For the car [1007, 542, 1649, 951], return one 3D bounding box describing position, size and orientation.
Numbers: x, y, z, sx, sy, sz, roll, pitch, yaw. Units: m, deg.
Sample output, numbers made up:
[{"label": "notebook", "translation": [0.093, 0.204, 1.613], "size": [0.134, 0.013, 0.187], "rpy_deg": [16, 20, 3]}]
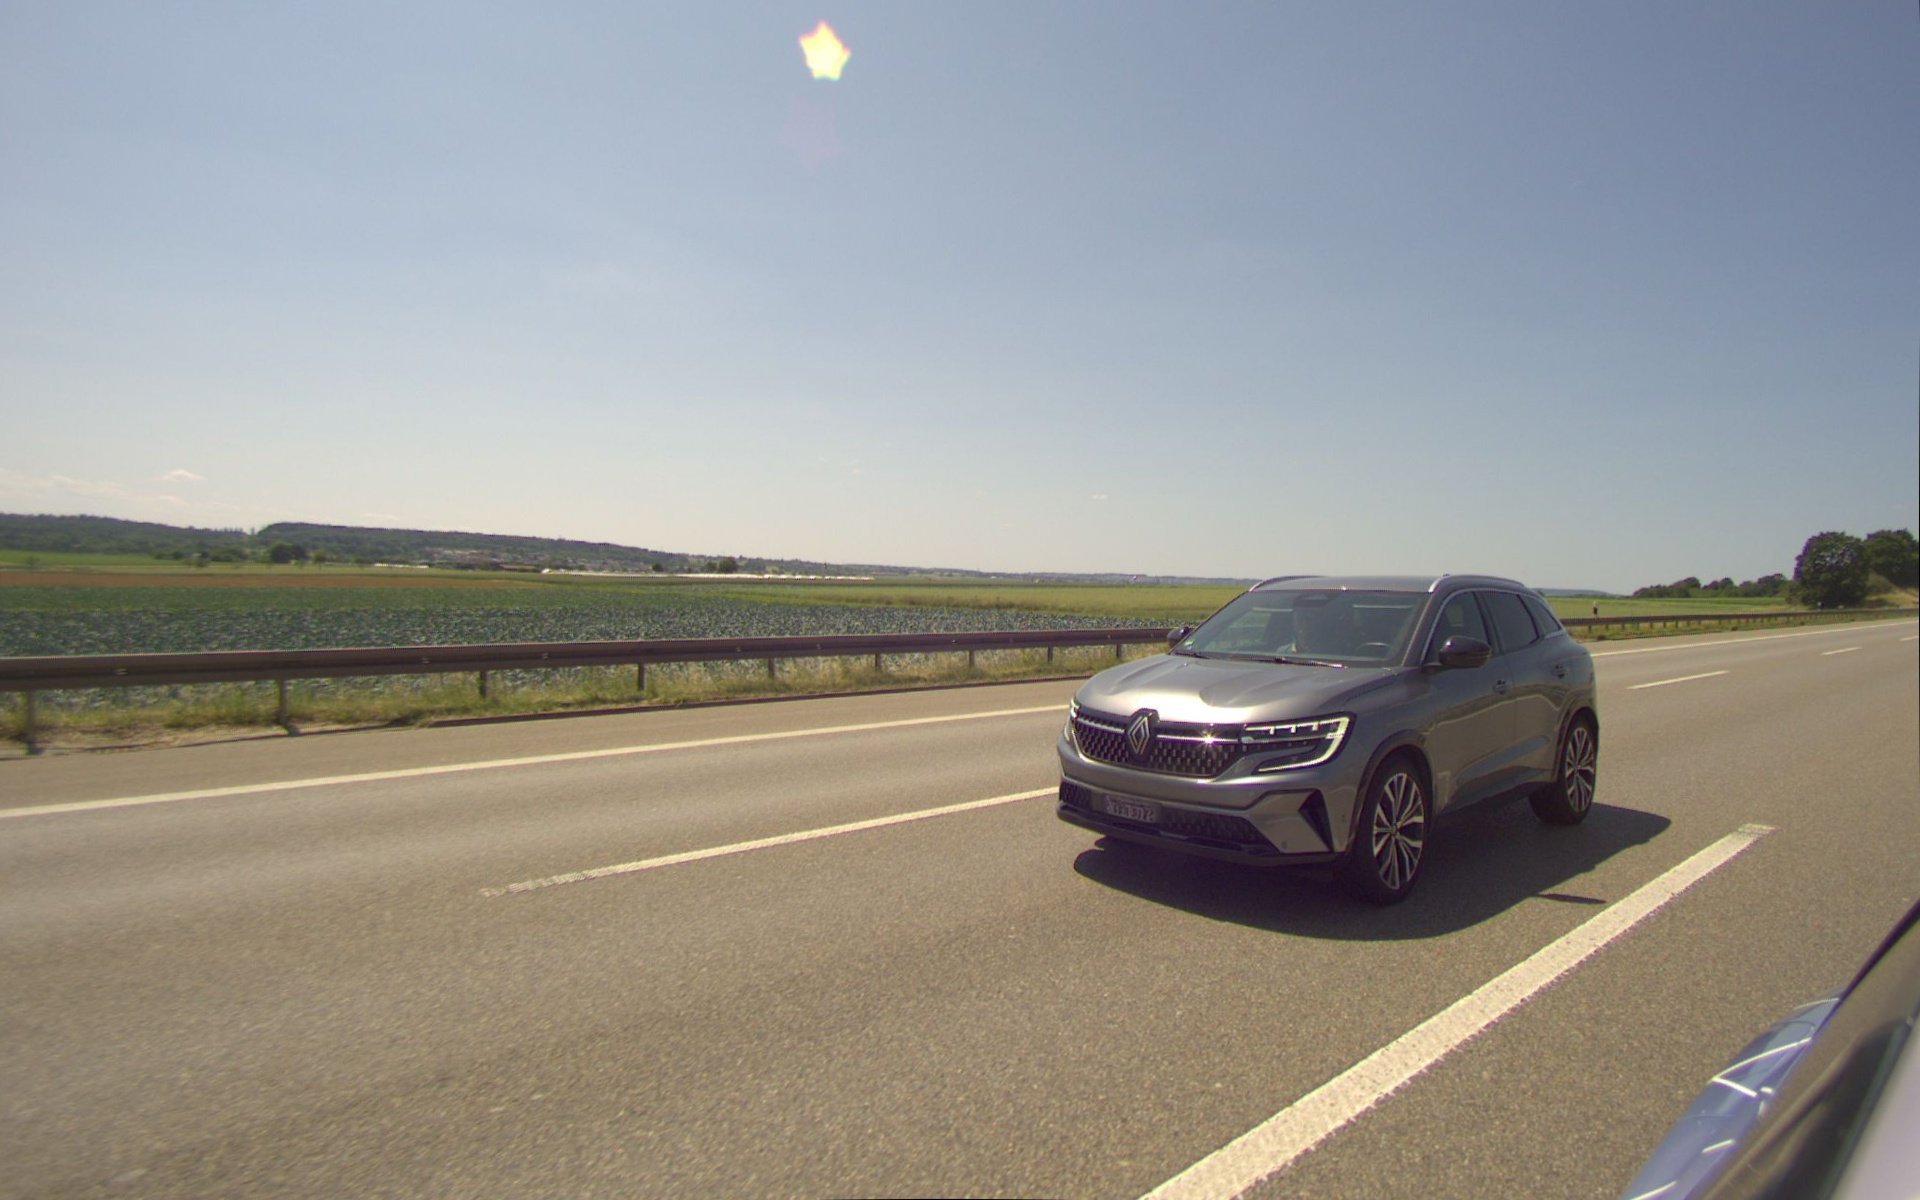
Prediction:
[{"label": "car", "translation": [2.566, 0.556, 6.353], "size": [4.565, 1.669, 1.854], "rpy_deg": [-1, 1, -42]}]
